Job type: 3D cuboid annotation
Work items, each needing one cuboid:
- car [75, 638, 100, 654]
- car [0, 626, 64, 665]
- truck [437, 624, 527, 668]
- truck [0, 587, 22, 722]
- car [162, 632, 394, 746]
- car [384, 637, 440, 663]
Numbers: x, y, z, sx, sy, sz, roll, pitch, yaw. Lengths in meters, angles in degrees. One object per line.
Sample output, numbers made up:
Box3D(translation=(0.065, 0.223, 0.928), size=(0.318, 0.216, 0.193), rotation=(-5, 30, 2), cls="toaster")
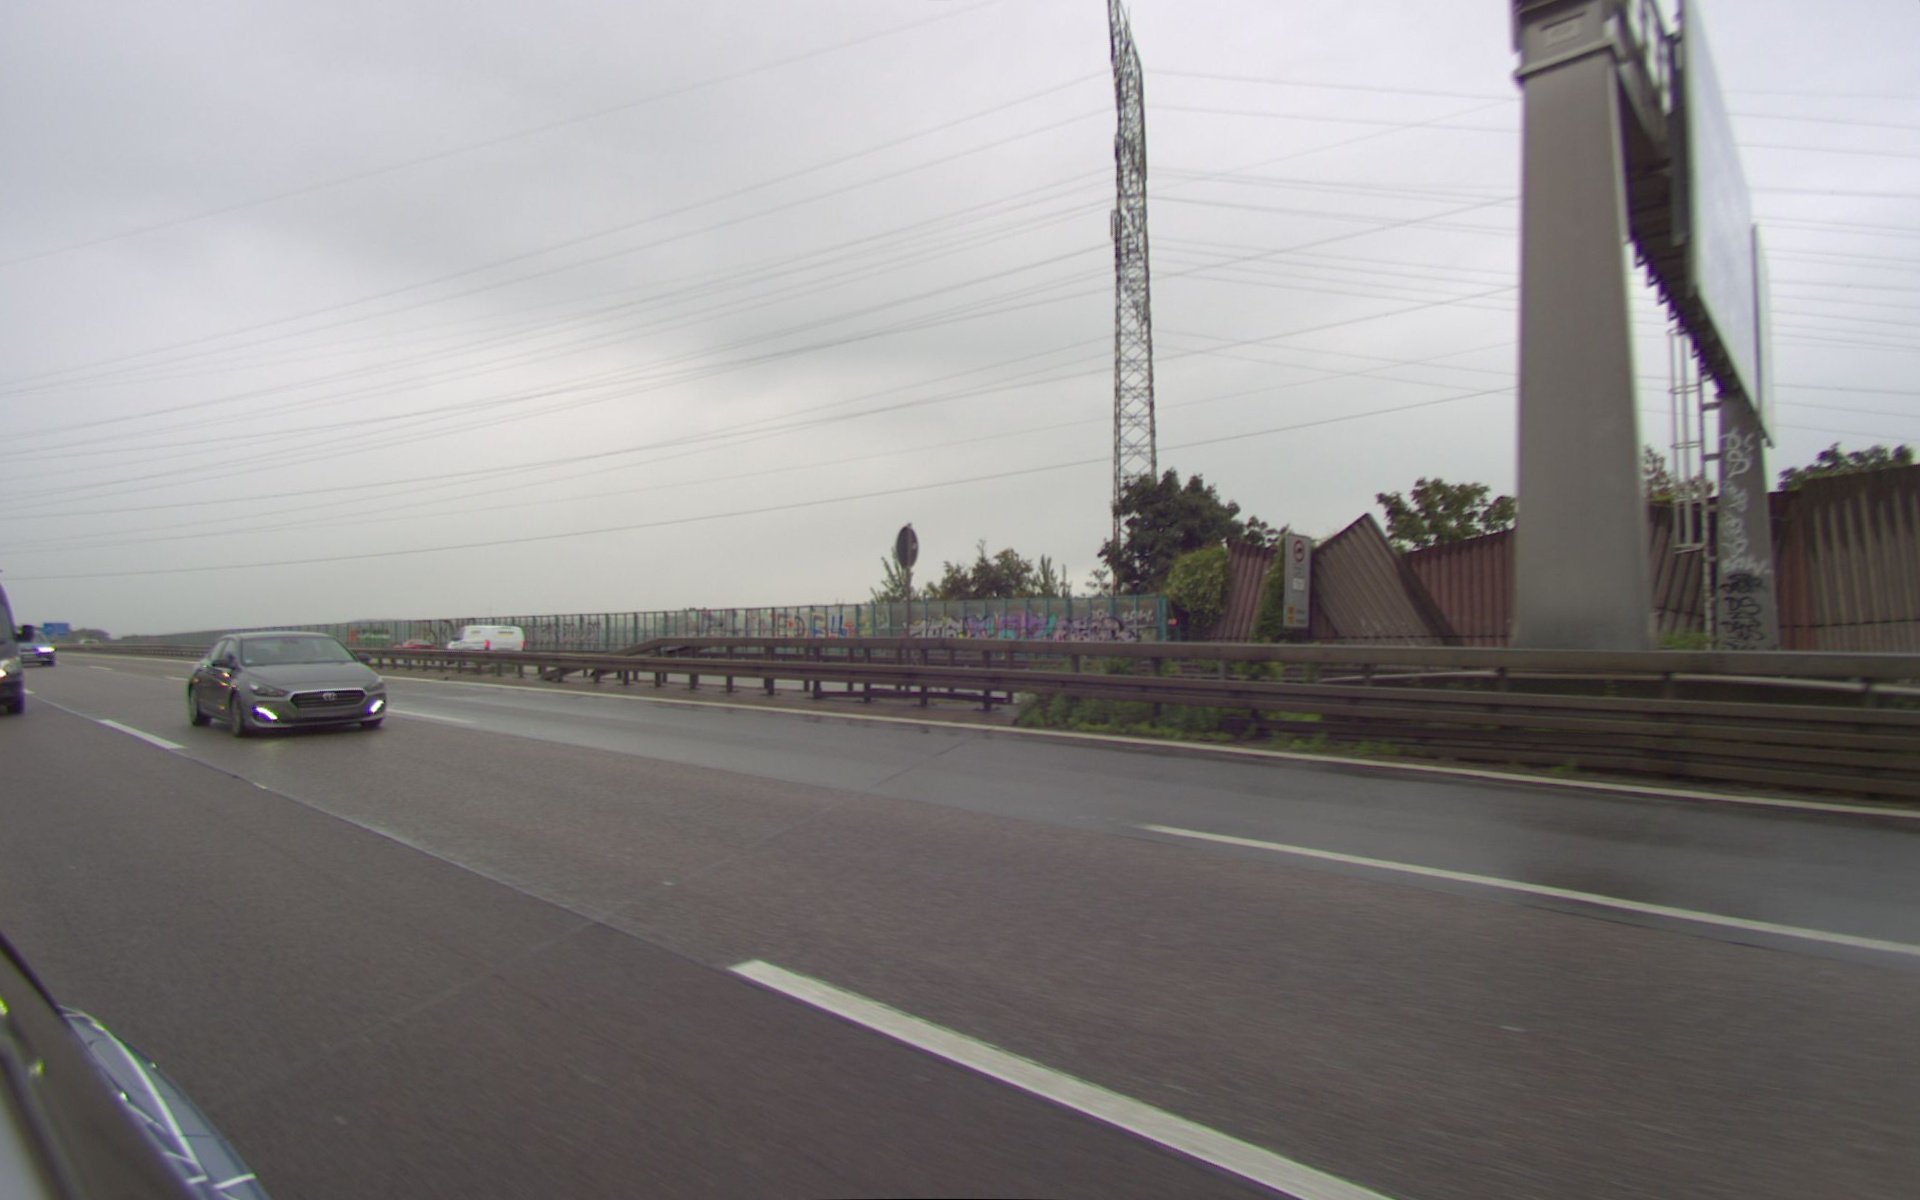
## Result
Box3D(translation=(-121.395, 6.338, 140.808), size=(5.009, 2.029, 1.973), rotation=(-1, 0, 41), cls="car")
Box3D(translation=(-41.990, 2.024, 45.646), size=(5.155, 1.606, 1.819), rotation=(-1, -1, 42), cls="car")
Box3D(translation=(-22.696, 2.160, 47.934), size=(5.248, 1.945, 1.972), rotation=(-2, -2, 42), cls="truck")
Box3D(translation=(-19.469, 0.978, 19.285), size=(6.112, 2.355, 1.971), rotation=(-1, -2, 44), cls="truck")
Box3D(translation=(-10.304, 1.220, 15.129), size=(4.826, 1.413, 1.707), rotation=(-2, -1, 41), cls="car")
Box3D(translation=(-39.574, 3.601, 73.030), size=(5.104, 1.797, 1.973), rotation=(-2, -2, 41), cls="car")
